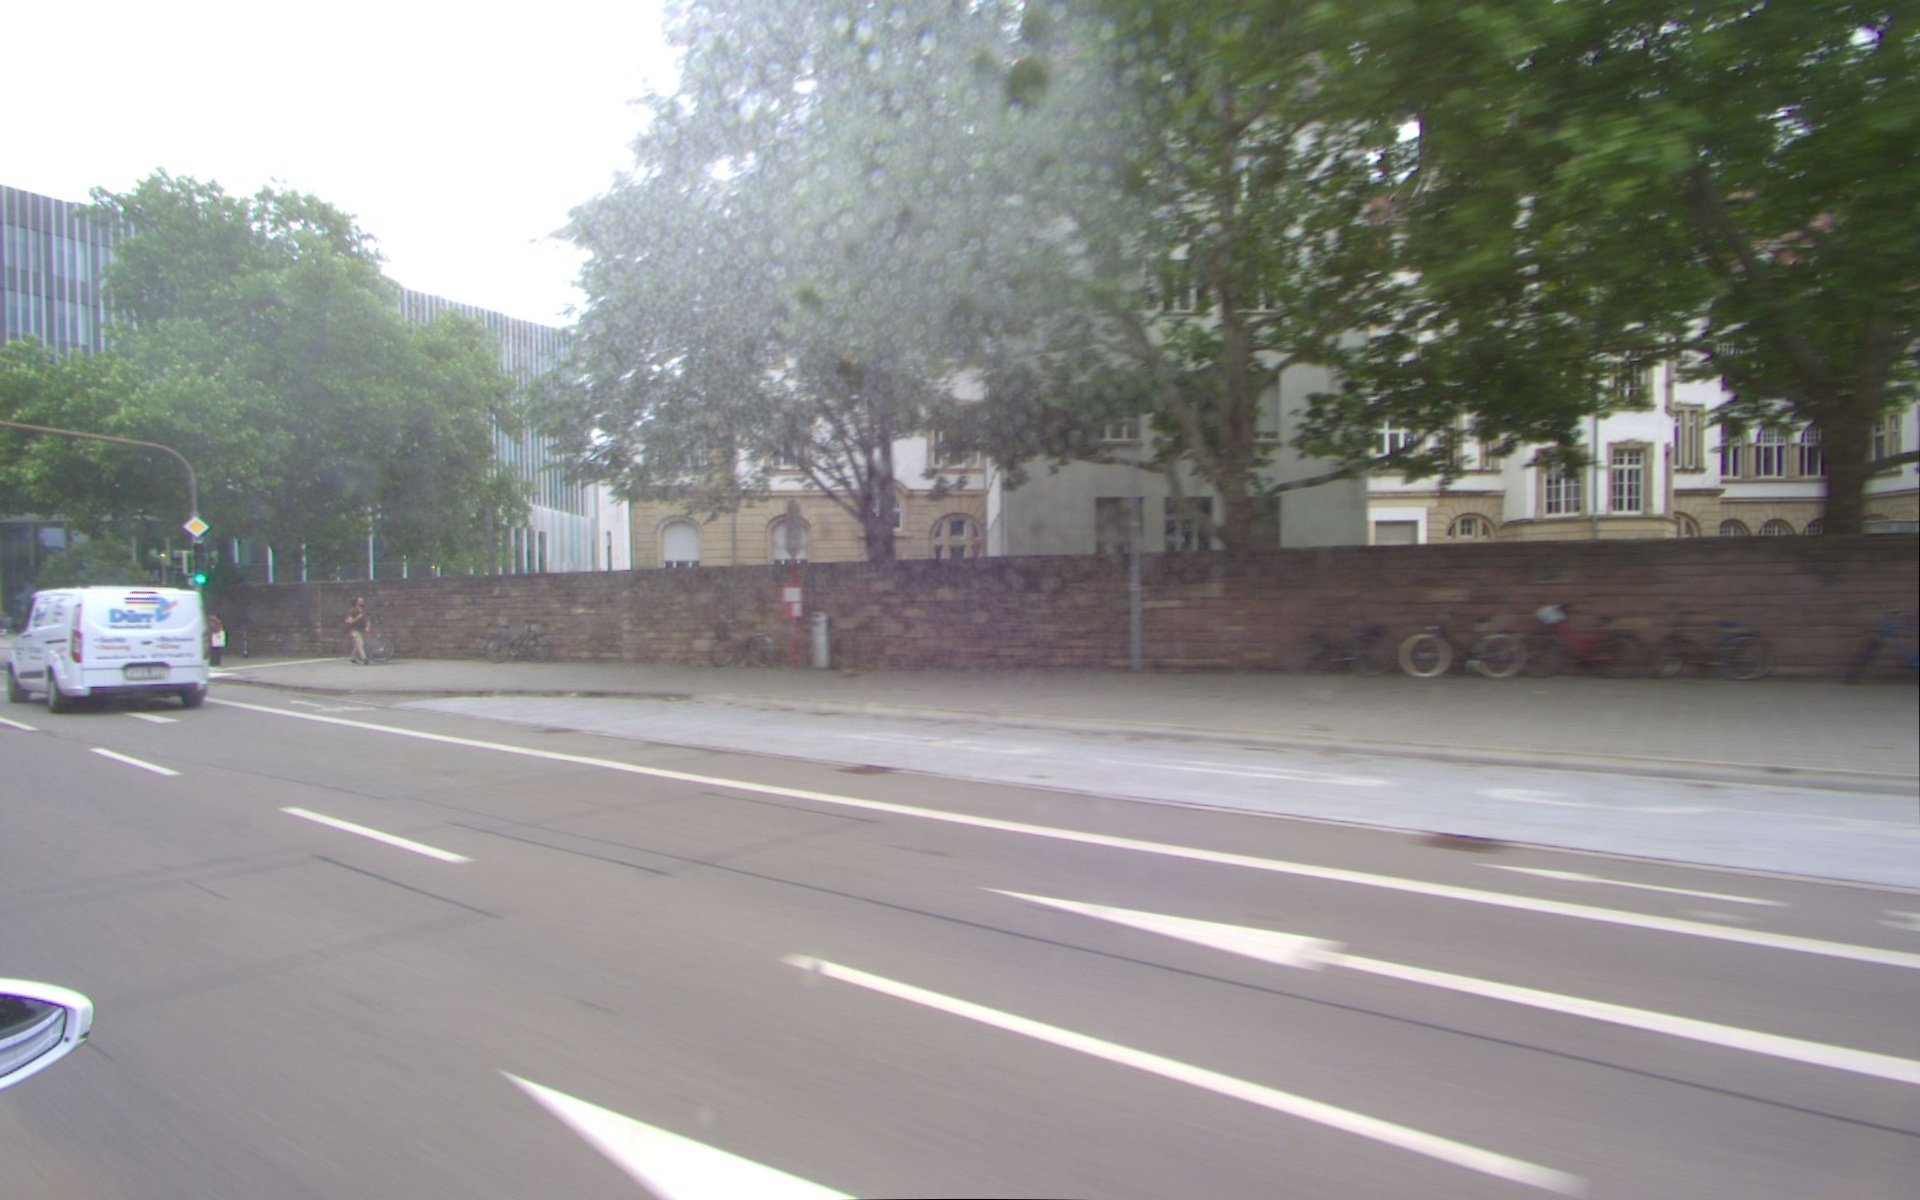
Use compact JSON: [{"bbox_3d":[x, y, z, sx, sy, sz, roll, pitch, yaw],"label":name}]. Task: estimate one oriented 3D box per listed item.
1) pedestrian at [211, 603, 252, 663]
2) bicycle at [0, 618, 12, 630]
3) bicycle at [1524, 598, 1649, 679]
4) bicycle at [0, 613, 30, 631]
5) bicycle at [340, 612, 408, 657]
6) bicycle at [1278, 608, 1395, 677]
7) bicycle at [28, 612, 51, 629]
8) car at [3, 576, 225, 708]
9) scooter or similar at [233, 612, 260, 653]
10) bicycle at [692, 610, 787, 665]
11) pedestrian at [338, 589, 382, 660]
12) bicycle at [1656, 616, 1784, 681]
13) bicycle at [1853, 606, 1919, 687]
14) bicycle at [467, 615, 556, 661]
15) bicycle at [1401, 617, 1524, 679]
[{"bbox_3d":[-20.196,0.909,27.770,0.628,1.584,0.657,1,5,37],"label":"pedestrian"},{"bbox_3d":[-63.052,1.576,65.451,0.558,0.759,1.475,0,2,33],"label":"bicycle"},{"bbox_3d":[9.932,0.603,15.918,1.598,1.238,0.499,0,2,19],"label":"bicycle"},{"bbox_3d":[-53.430,1.232,56.079,0.685,0.911,1.889,0,2,16],"label":"bicycle"},{"bbox_3d":[-16.399,0.948,28.021,1.926,1.190,0.801,0,4,32],"label":"bicycle"},{"bbox_3d":[6.407,0.720,17.108,1.757,1.115,0.720,-1,2,8],"label":"bicycle"},{"bbox_3d":[-60.067,1.342,65.327,0.612,1.060,1.698,-2,2,-26],"label":"bicycle"},{"bbox_3d":[-14.615,0.674,17.239,4.286,1.998,1.961,0,-1,36],"label":"car"},{"bbox_3d":[-22.571,1.018,31.687,0.427,1.195,1.695,-3,2,-28],"label":"scooter or similar"},{"bbox_3d":[-4.892,0.826,22.213,1.890,1.143,0.848,-1,2,22],"label":"bicycle"},{"bbox_3d":[-15.982,0.647,26.679,1.019,1.846,0.628,1,3,37],"label":"pedestrian"},{"bbox_3d":[11.605,0.736,15.332,1.498,0.955,0.416,0,2,19],"label":"bicycle"},{"bbox_3d":[13.940,0.653,14.320,1.625,1.119,0.597,0,2,17],"label":"bicycle"},{"bbox_3d":[-11.338,0.946,25.325,1.936,1.088,0.940,-1,2,22],"label":"bicycle"},{"bbox_3d":[8.222,0.772,16.462,1.739,0.964,0.654,0,2,19],"label":"bicycle"}]
